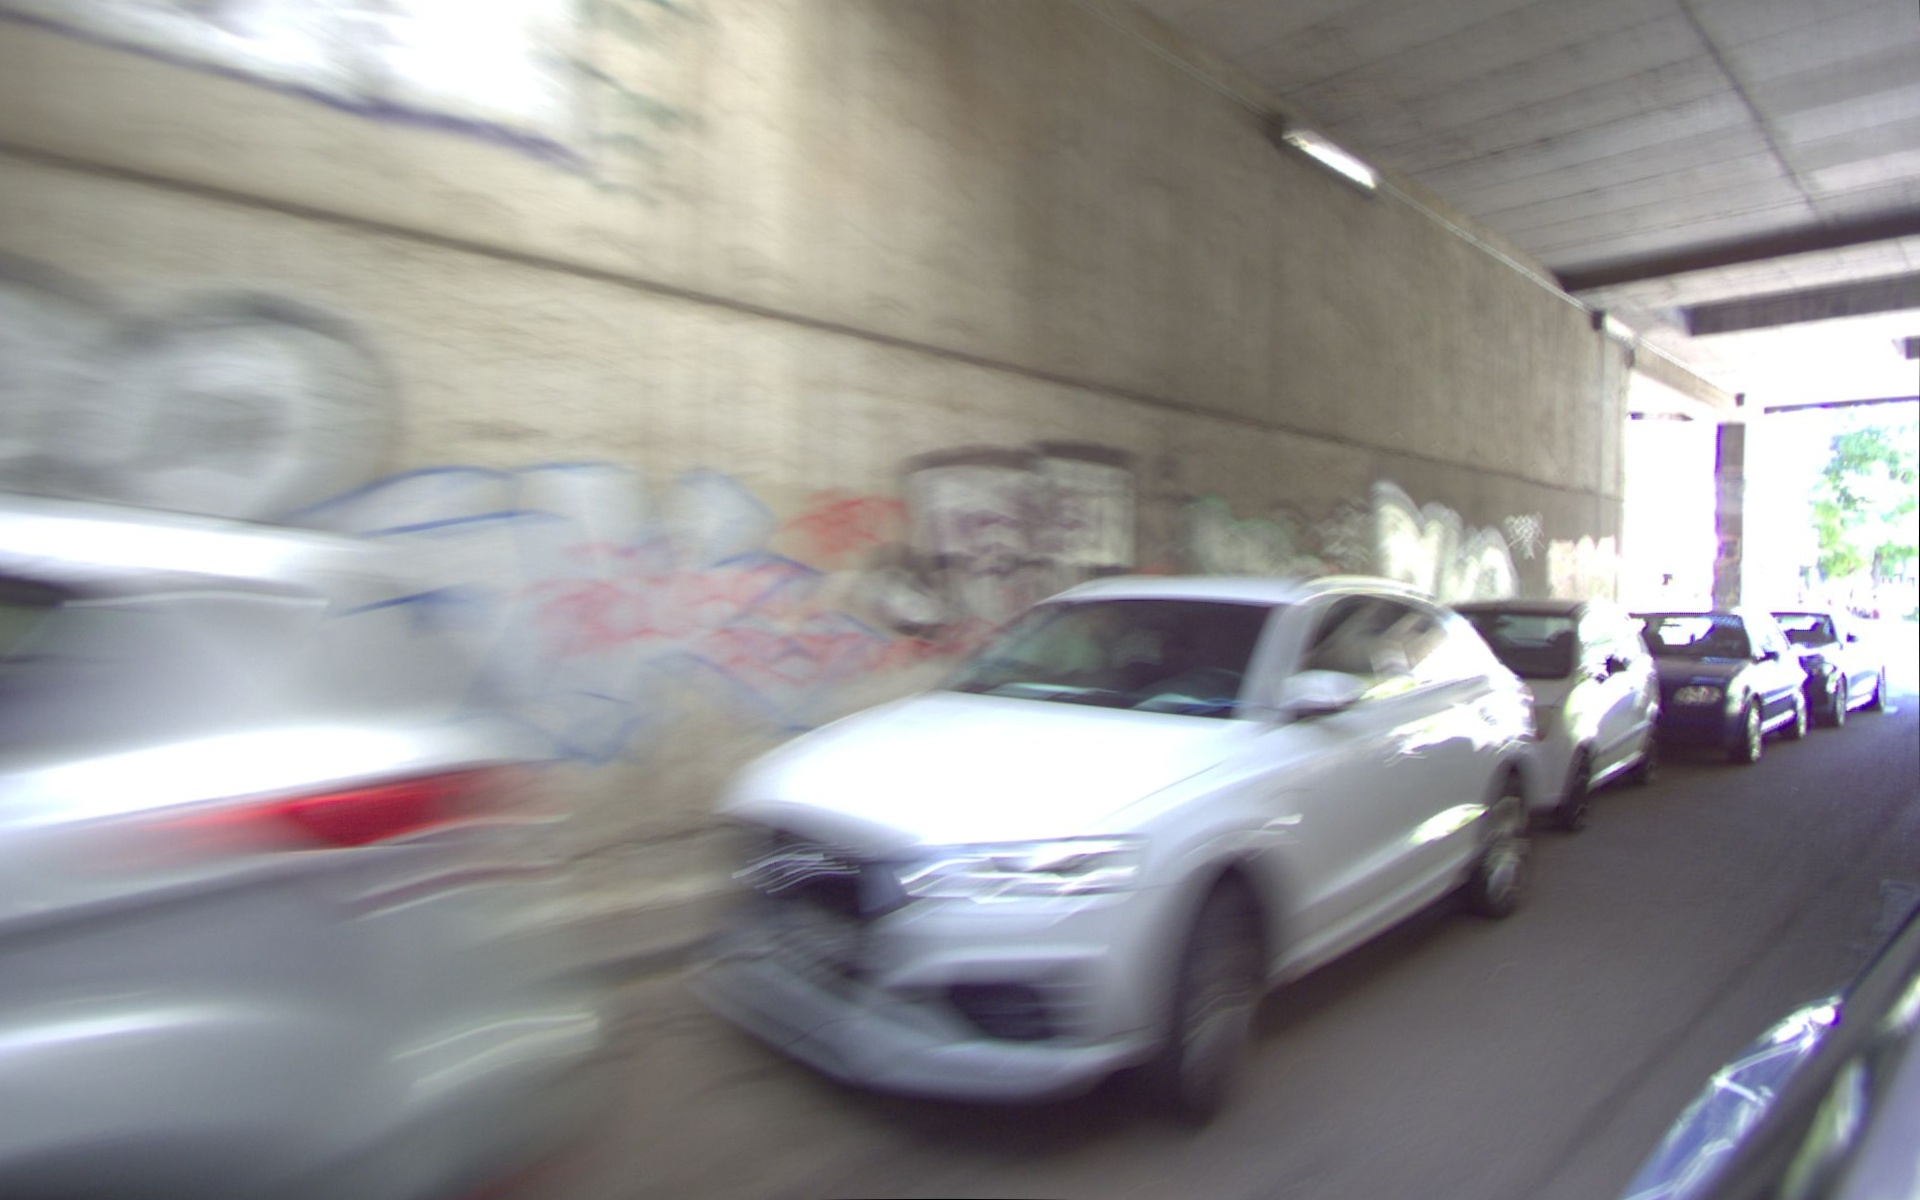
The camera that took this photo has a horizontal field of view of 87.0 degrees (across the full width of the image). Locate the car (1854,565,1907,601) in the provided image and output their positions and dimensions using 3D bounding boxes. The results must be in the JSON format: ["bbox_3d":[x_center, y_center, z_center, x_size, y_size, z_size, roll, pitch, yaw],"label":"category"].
[{"bbox_3d":[55.188,-0.993,60.741,1.987,2.055,4.243,1,0,38],"label":"car"}]

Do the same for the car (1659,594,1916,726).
[{"bbox_3d":[11.305,0.684,13.707,4.525,1.451,1.855,-1,0,-40],"label":"car"}]

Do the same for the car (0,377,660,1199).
[{"bbox_3d":[-2.696,0.581,0.890,4.295,1.687,1.856,0,0,-42],"label":"car"}]

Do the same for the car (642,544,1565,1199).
[{"bbox_3d":[0.969,0.609,4.253,4.088,1.565,1.731,-1,2,-45],"label":"car"}]

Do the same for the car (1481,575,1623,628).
[{"bbox_3d":[18.555,-0.004,31.785,1.697,1.537,3.524,-2,3,-43],"label":"car"}]

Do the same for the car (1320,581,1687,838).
[{"bbox_3d":[4.359,0.617,7.880,1.604,1.506,3.580,2,2,44],"label":"car"}]

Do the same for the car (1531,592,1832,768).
[{"bbox_3d":[7.687,0.667,10.643,3.994,1.428,1.764,-1,2,-42],"label":"car"}]

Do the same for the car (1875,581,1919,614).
[{"bbox_3d":[46.573,-0.118,49.911,1.770,1.458,3.945,5,2,38],"label":"car"}]
